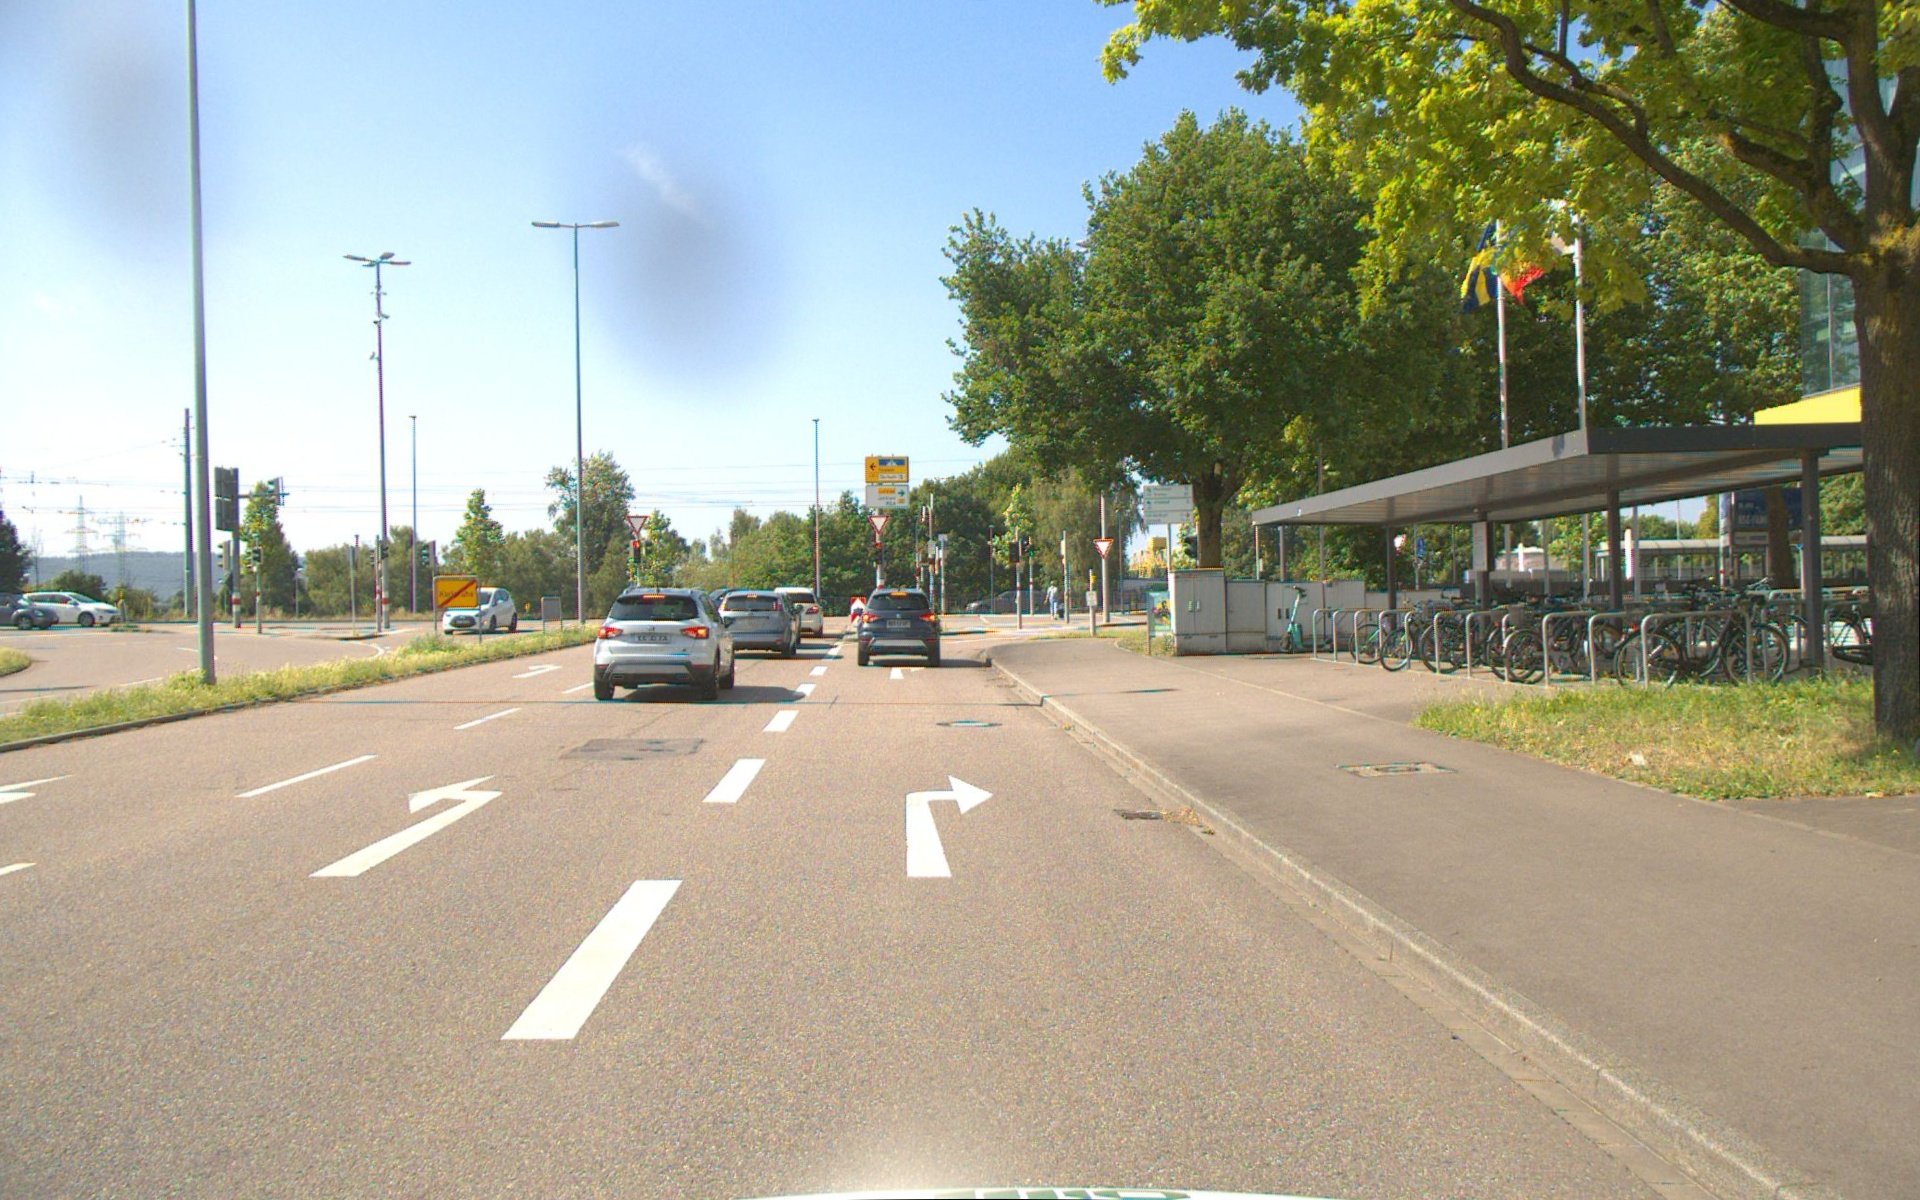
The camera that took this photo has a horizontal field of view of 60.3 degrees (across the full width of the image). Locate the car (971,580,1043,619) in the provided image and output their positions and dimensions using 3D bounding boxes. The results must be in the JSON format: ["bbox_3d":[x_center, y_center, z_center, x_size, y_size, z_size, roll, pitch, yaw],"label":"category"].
[{"bbox_3d":[2.602,-0.027,92.592,3.906,2.049,1.999,-1,-1,-2],"label":"car"}]

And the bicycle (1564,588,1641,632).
[{"bbox_3d":[14.152,0.210,36.456,1.530,0.925,0.433,-1,0,-1],"label":"bicycle"}]

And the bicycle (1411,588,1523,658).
[{"bbox_3d":[8.570,0.379,27.972,1.723,1.115,0.452,-2,0,-3],"label":"bicycle"}]

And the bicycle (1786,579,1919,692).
[{"bbox_3d":[9.643,0.360,17.351,1.723,1.115,0.452,-2,0,-3],"label":"bicycle"}]

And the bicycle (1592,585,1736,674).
[{"bbox_3d":[9.370,0.381,22.031,1.723,1.115,0.452,-2,0,-3],"label":"bicycle"}]

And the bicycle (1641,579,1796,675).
[{"bbox_3d":[9.444,0.329,20.607,1.723,1.115,0.452,-2,0,-3],"label":"bicycle"}]

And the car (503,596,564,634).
[{"bbox_3d":[-12.091,0.409,47.021,1.095,1.021,2.491,-2,0,-1],"label":"car"}]

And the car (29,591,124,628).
[{"bbox_3d":[-37.898,0.410,71.018,3.279,1.526,1.407,-1,-1,-7],"label":"car"}]

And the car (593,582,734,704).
[{"bbox_3d":[-4.235,0.556,24.098,1.599,1.524,3.867,-1,2,-4],"label":"car"}]

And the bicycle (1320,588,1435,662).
[{"bbox_3d":[6.746,0.398,26.746,1.723,1.115,0.452,-2,0,-3],"label":"bicycle"}]

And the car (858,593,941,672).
[{"bbox_3d":[-1.244,0.639,34.300,1.636,1.550,3.375,0,0,-2],"label":"car"}]

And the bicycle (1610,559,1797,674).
[{"bbox_3d":[7.687,0.169,17.123,1.723,1.115,0.452,-2,0,-3],"label":"bicycle"}]

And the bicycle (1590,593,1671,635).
[{"bbox_3d":[14.239,0.289,35.142,1.530,0.858,0.433,-1,0,-1],"label":"bicycle"}]

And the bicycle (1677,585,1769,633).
[{"bbox_3d":[14.463,0.165,31.350,1.530,0.858,0.433,-1,0,-1],"label":"bicycle"}]

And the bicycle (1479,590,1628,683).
[{"bbox_3d":[7.546,0.462,21.067,1.723,1.115,0.452,-2,0,-3],"label":"bicycle"}]

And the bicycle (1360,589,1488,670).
[{"bbox_3d":[6.818,0.428,24.326,1.723,1.115,0.452,-2,0,-3],"label":"bicycle"}]

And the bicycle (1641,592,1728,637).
[{"bbox_3d":[14.397,0.286,32.866,1.530,0.858,0.433,-1,0,-1],"label":"bicycle"}]

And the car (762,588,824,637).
[{"bbox_3d":[-5.283,0.358,52.785,1.706,1.473,4.386,-1,0,-3],"label":"car"}]

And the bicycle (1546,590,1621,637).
[{"bbox_3d":[14.107,0.303,37.441,1.530,1.012,0.433,-1,0,-1],"label":"bicycle"}]

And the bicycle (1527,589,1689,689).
[{"bbox_3d":[7.626,0.451,19.479,1.723,1.115,0.452,-2,0,-3],"label":"bicycle"}]

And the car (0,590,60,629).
[{"bbox_3d":[-38.917,0.388,67.750,3.320,1.526,1.408,-1,-1,-5],"label":"car"}]

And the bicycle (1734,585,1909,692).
[{"bbox_3d":[9.581,0.419,18.413,1.723,1.115,0.452,-2,0,-3],"label":"bicycle"}]

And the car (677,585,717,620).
[{"bbox_3d":[-13.692,0.110,86.348,1.594,1.653,3.915,-1,1,-2],"label":"car"}]

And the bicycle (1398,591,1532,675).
[{"bbox_3d":[7.070,0.456,23.169,1.723,1.115,0.452,-2,0,-3],"label":"bicycle"}]

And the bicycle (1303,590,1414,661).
[{"bbox_3d":[6.680,0.422,27.744,1.723,1.115,0.452,-2,0,-3],"label":"bicycle"}]

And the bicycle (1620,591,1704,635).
[{"bbox_3d":[14.341,0.259,33.788,1.530,0.858,0.433,-1,0,-3],"label":"bicycle"}]

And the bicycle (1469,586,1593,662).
[{"bbox_3d":[8.768,0.363,25.413,1.723,1.115,0.452,-2,0,-3],"label":"bicycle"}]

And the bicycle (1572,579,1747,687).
[{"bbox_3d":[7.682,0.359,18.181,1.723,1.115,0.463,-2,0,-3],"label":"bicycle"}]

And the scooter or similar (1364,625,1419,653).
[{"bbox_3d":[7.756,0.698,29.692,0.897,0.459,0.962,-3,-1,17],"label":"scooter or similar"}]

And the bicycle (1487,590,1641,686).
[{"bbox_3d":[7.440,0.458,20.399,1.723,1.115,0.452,-2,0,-3],"label":"bicycle"}]

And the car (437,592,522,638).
[{"bbox_3d":[-17.546,0.536,60.599,1.756,1.574,4.088,-1,0,2],"label":"car"}]

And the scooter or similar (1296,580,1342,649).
[{"bbox_3d":[6.860,0.281,31.605,0.761,1.287,0.283,-2,0,-6],"label":"scooter or similar"}]

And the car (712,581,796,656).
[{"bbox_3d":[-4.664,0.394,37.954,1.672,1.600,4.171,-1,0,-4],"label":"car"}]

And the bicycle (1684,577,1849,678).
[{"bbox_3d":[9.495,0.319,19.482,1.723,1.115,0.452,-2,0,-3],"label":"bicycle"}]

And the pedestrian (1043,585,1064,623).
[{"bbox_3d":[3.936,0.148,69.538,0.756,1.537,1.008,-1,1,8],"label":"pedestrian"}]

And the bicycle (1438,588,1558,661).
[{"bbox_3d":[8.687,0.393,26.726,1.792,1.115,0.452,-2,0,-3],"label":"bicycle"}]
